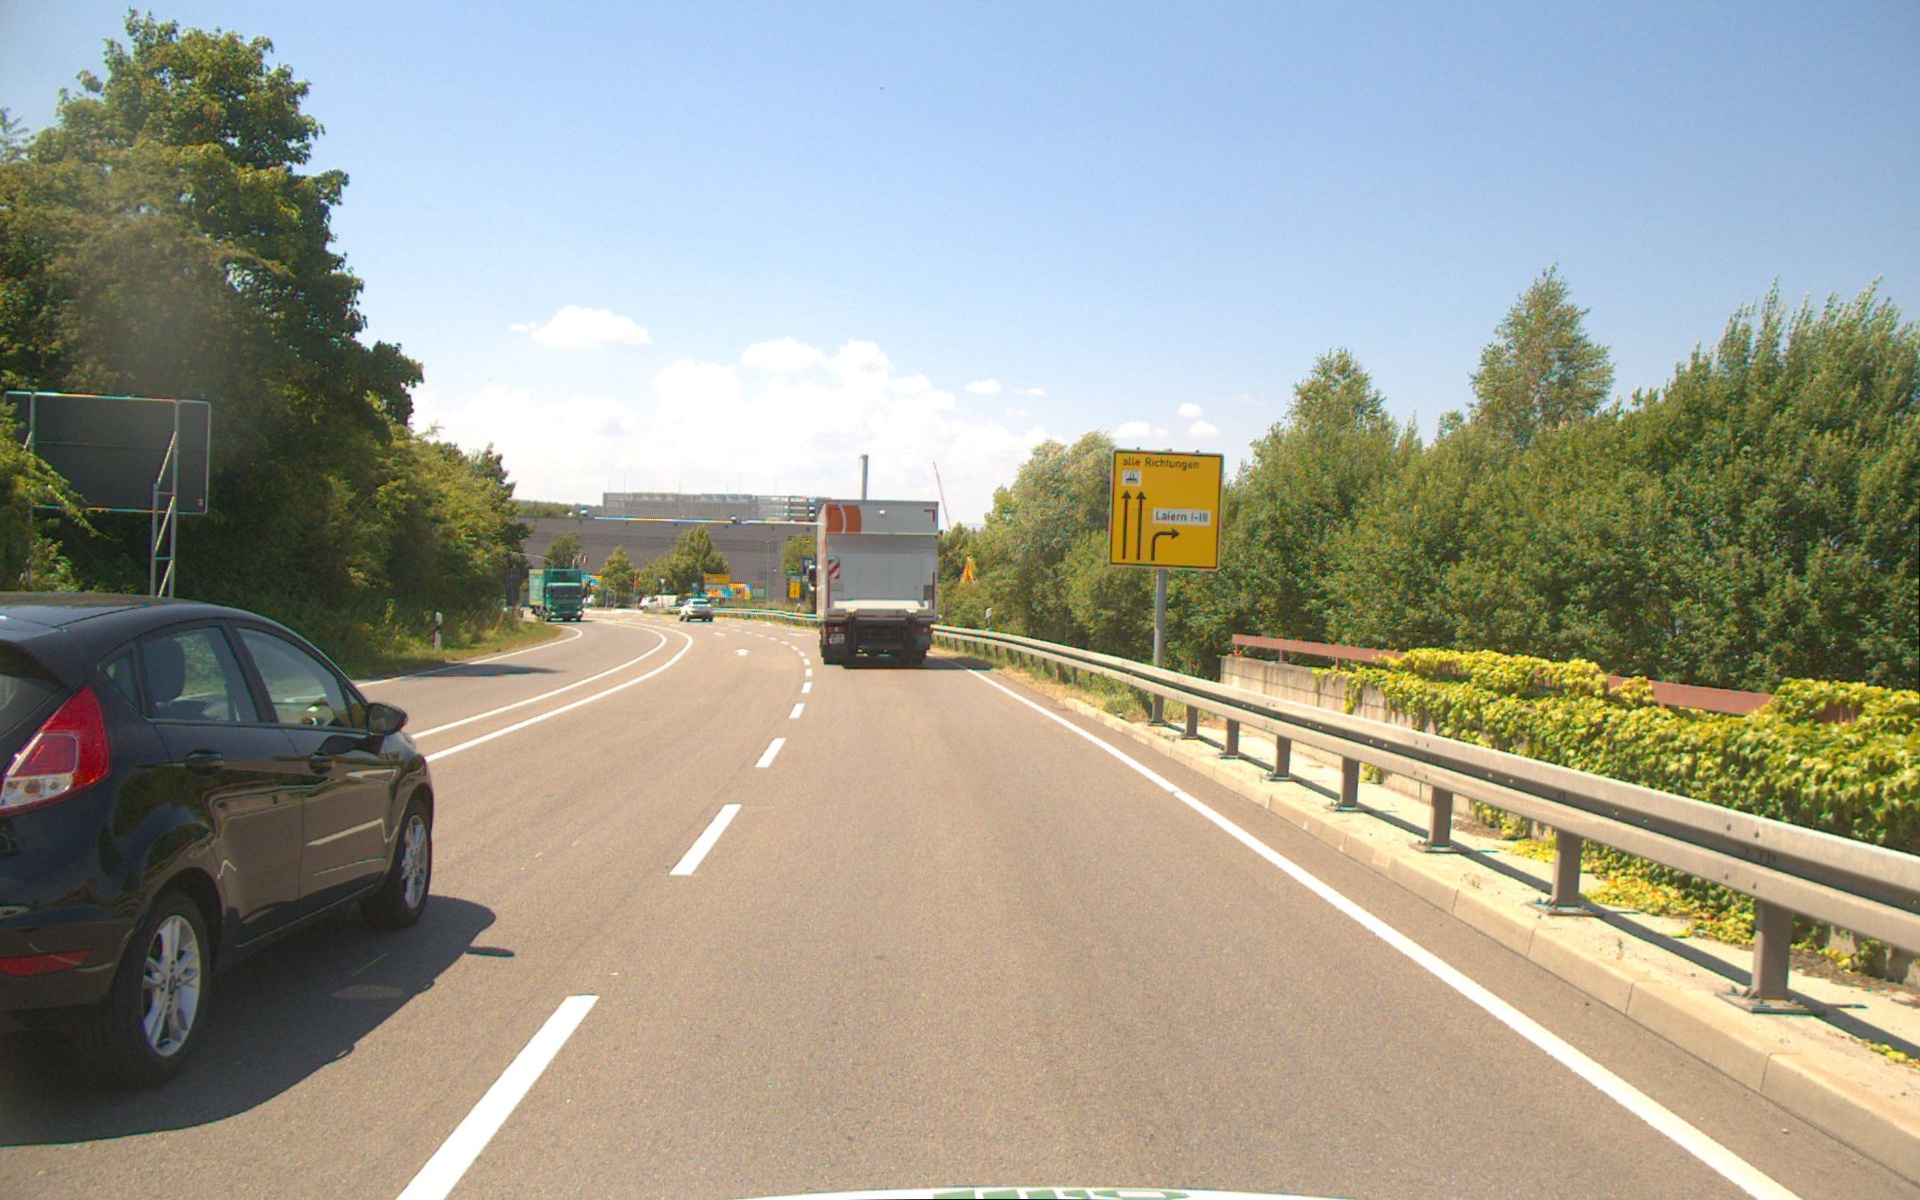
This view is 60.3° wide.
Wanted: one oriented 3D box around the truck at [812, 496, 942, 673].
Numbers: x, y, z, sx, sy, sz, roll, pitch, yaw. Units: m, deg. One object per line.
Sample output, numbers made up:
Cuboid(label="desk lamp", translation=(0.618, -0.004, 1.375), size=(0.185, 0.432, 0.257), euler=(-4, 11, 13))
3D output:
Cuboid(label="truck", translation=(-1.996, -0.364, 40.398), size=(2.747, 3.775, 9.103), euler=(1, 0, -3))

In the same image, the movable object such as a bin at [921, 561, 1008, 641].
Cuboid(label="movable object such as a bin", translation=(0.251, -0.006, 122.593), size=(3.373, 5.351, 9.180), euler=(3, 2, -19))

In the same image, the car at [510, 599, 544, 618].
Cuboid(label="car", translation=(-34.186, 0.676, 130.725), size=(1.840, 1.467, 4.325), euler=(0, 0, -5))

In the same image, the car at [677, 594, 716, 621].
Cuboid(label="car", translation=(-17.950, 0.510, 112.494), size=(1.914, 1.693, 3.979), euler=(4, -1, -18))

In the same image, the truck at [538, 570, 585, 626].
Cuboid(label="truck", translation=(-27.254, -0.137, 112.838), size=(2.822, 3.637, 9.390), euler=(0, 0, -16))

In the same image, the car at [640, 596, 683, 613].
Cuboid(label="car", translation=(-34.787, 0.498, 192.893), size=(4.649, 1.966, 2.153), euler=(1, 0, -1))

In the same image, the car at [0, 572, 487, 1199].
Cuboid(label="car", translation=(-3.161, 0.678, 6.165), size=(1.619, 1.520, 4.207), euler=(2, 1, -1))
